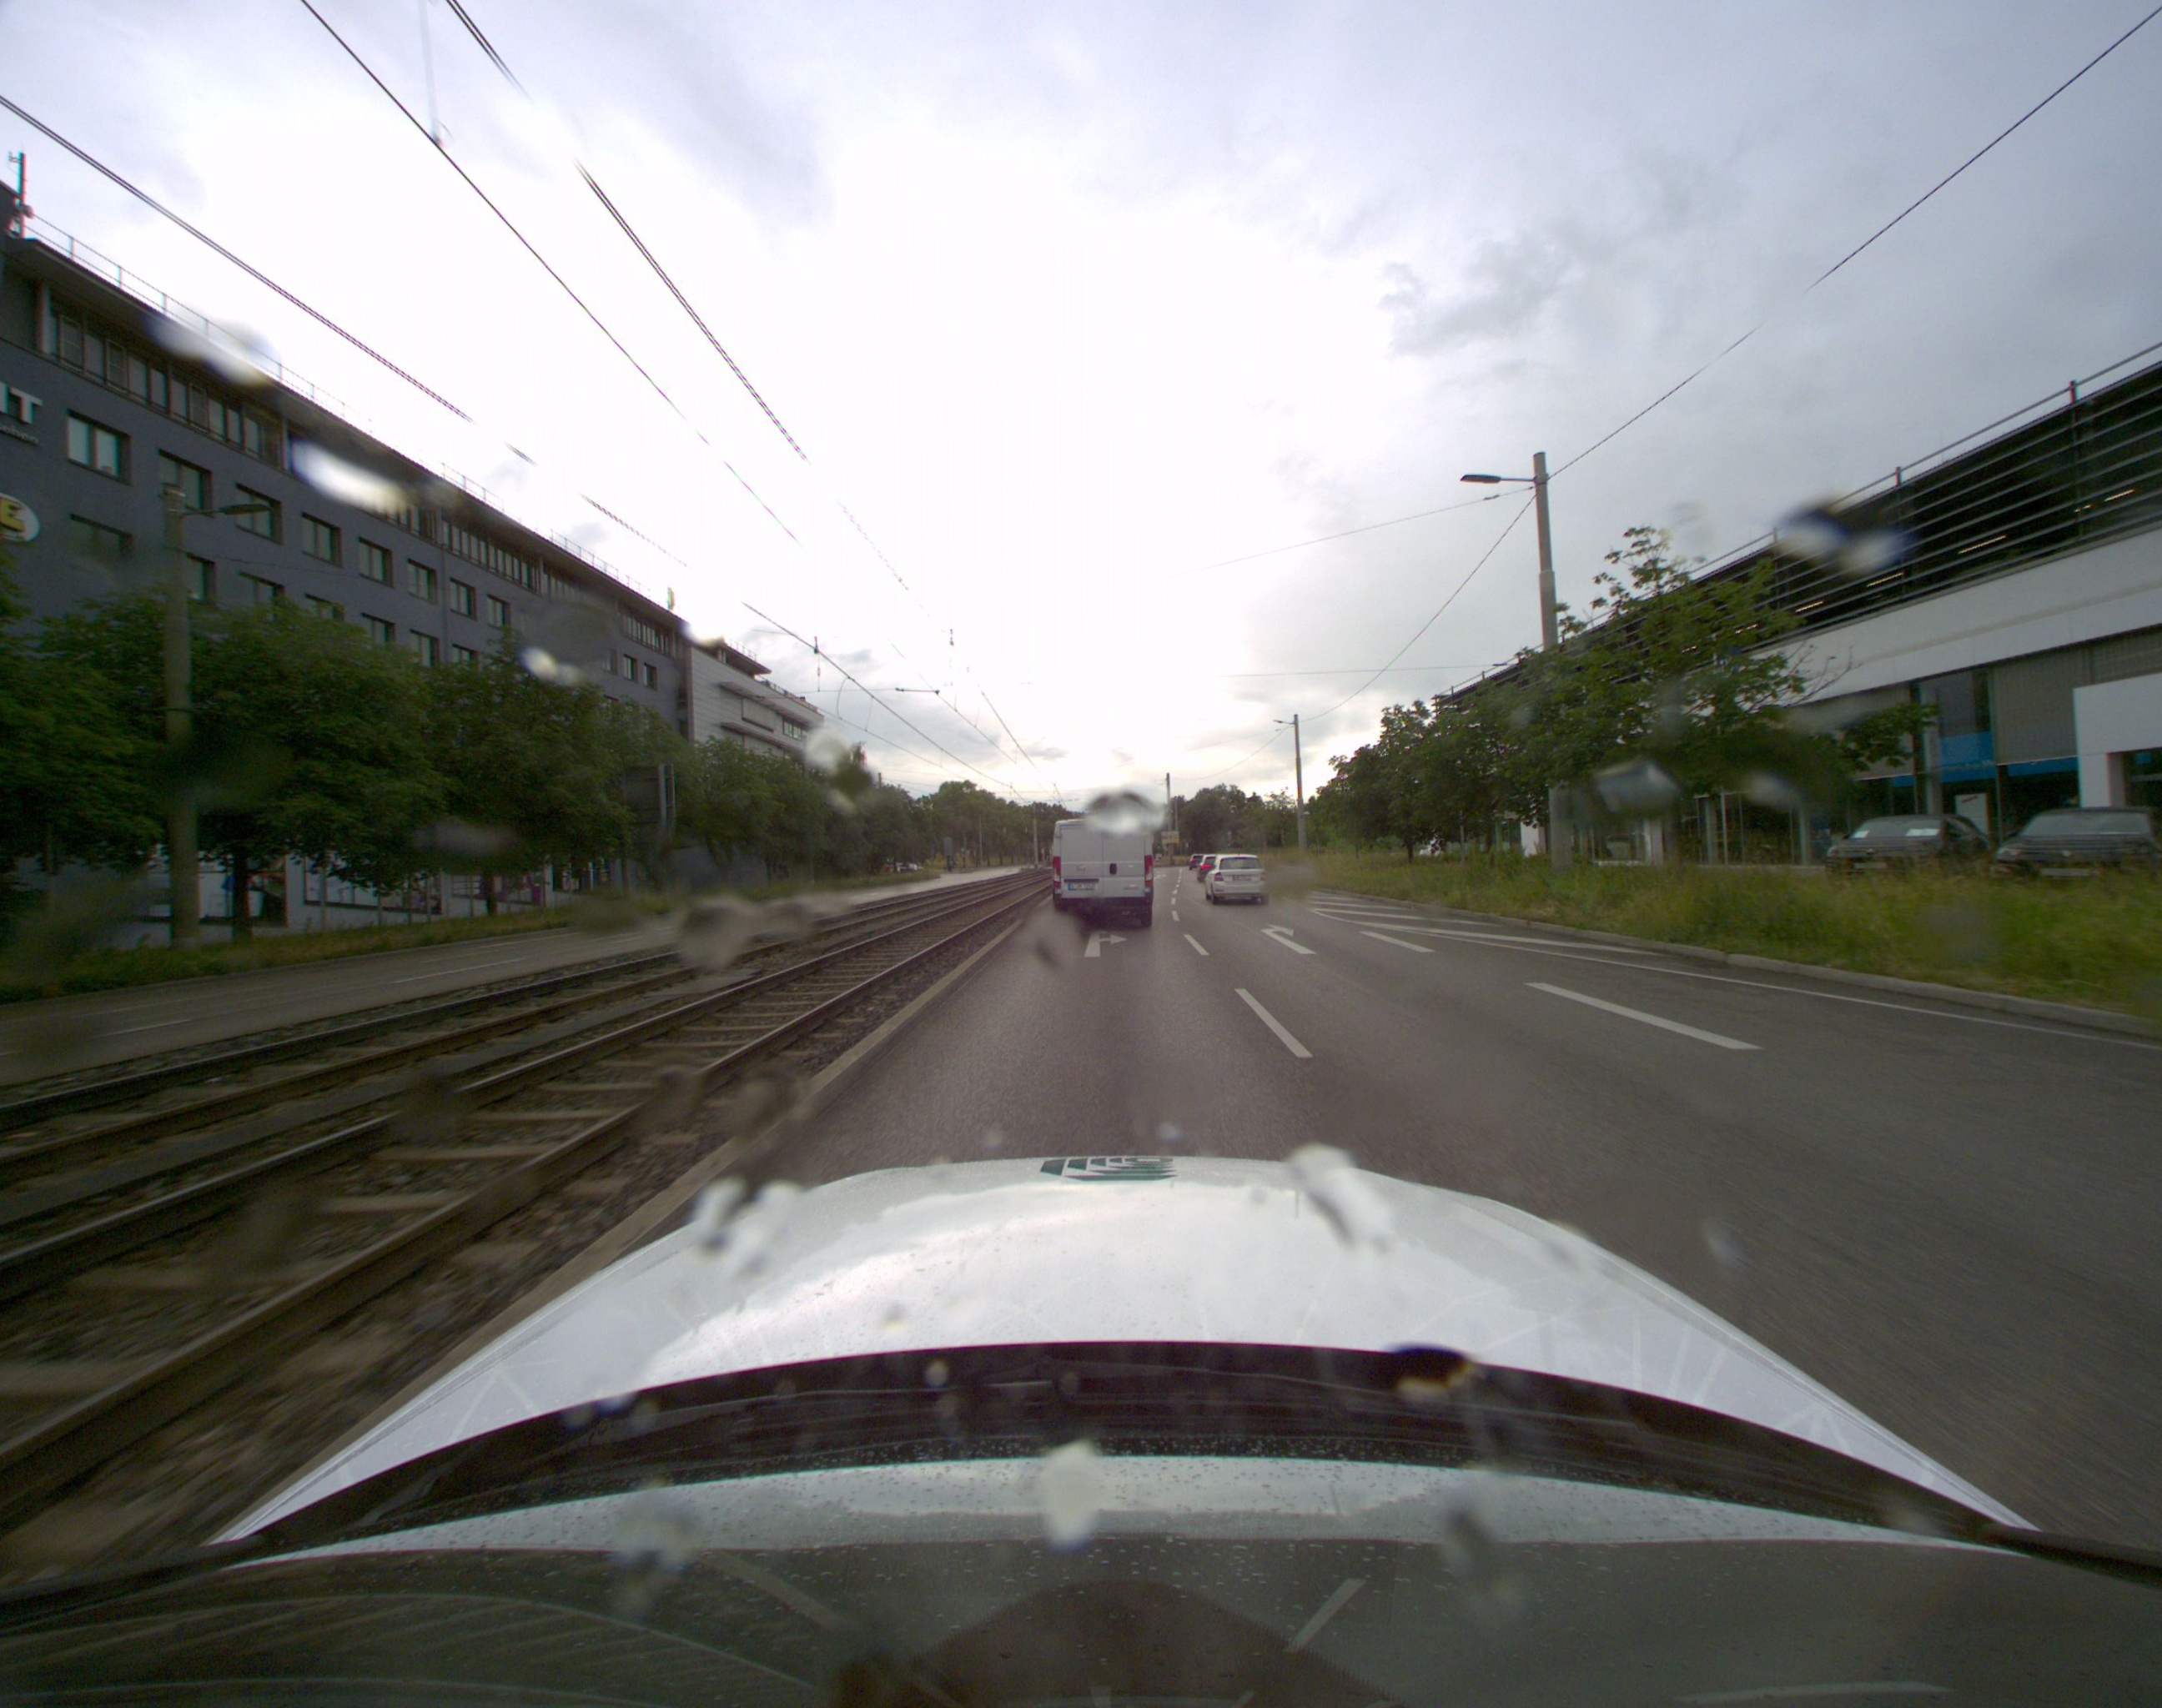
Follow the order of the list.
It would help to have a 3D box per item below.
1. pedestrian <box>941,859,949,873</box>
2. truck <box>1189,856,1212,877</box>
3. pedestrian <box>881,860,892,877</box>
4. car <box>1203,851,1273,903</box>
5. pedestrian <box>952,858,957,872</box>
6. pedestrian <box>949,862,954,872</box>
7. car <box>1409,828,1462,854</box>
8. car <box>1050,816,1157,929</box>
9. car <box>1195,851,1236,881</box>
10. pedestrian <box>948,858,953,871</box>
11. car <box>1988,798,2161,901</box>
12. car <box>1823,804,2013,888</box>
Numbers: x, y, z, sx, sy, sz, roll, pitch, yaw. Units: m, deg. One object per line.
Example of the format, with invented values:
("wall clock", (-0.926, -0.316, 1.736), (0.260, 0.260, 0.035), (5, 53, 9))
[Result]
("pedestrian", (-19.584, 1.766, 117.406), (0.885, 2.013, 0.865), (-2, -1, -3))
("truck", (11.245, 1.180, 76.478), (1.981, 1.790, 4.427), (-3, 0, 10))
("pedestrian", (-23.503, 1.794, 98.544), (0.880, 2.013, 0.949), (-3, -1, 17))
("car", (4.736, 0.646, 24.965), (1.738, 1.457, 3.676), (0, 0, 5))
("pedestrian", (-17.922, 1.579, 115.457), (0.493, 1.955, 0.723), (0, -1, 6))
("pedestrian", (-18.716, 1.918, 117.600), (0.493, 1.473, 0.723), (0, 0, 4))
("car", (29.085, -0.998, 67.068), (2.037, 2.013, 5.089), (-2, 0, -1))
("car", (0.469, 0.357, 18.540), (2.083, 2.196, 5.061), (-1, 0, 1))
("car", (6.974, 0.616, 42.432), (1.781, 1.449, 4.005), (-1, 0, 5))
("pedestrian", (-18.576, 1.535, 115.885), (0.503, 1.787, 0.833), (0, 0, 7))
("car", (18.455, -0.123, 14.764), (4.390, 1.568, 1.781), (-4, -1, -31))
("car", (19.211, -0.208, 18.645), (4.640, 1.568, 1.834), (-4, -1, -29))
